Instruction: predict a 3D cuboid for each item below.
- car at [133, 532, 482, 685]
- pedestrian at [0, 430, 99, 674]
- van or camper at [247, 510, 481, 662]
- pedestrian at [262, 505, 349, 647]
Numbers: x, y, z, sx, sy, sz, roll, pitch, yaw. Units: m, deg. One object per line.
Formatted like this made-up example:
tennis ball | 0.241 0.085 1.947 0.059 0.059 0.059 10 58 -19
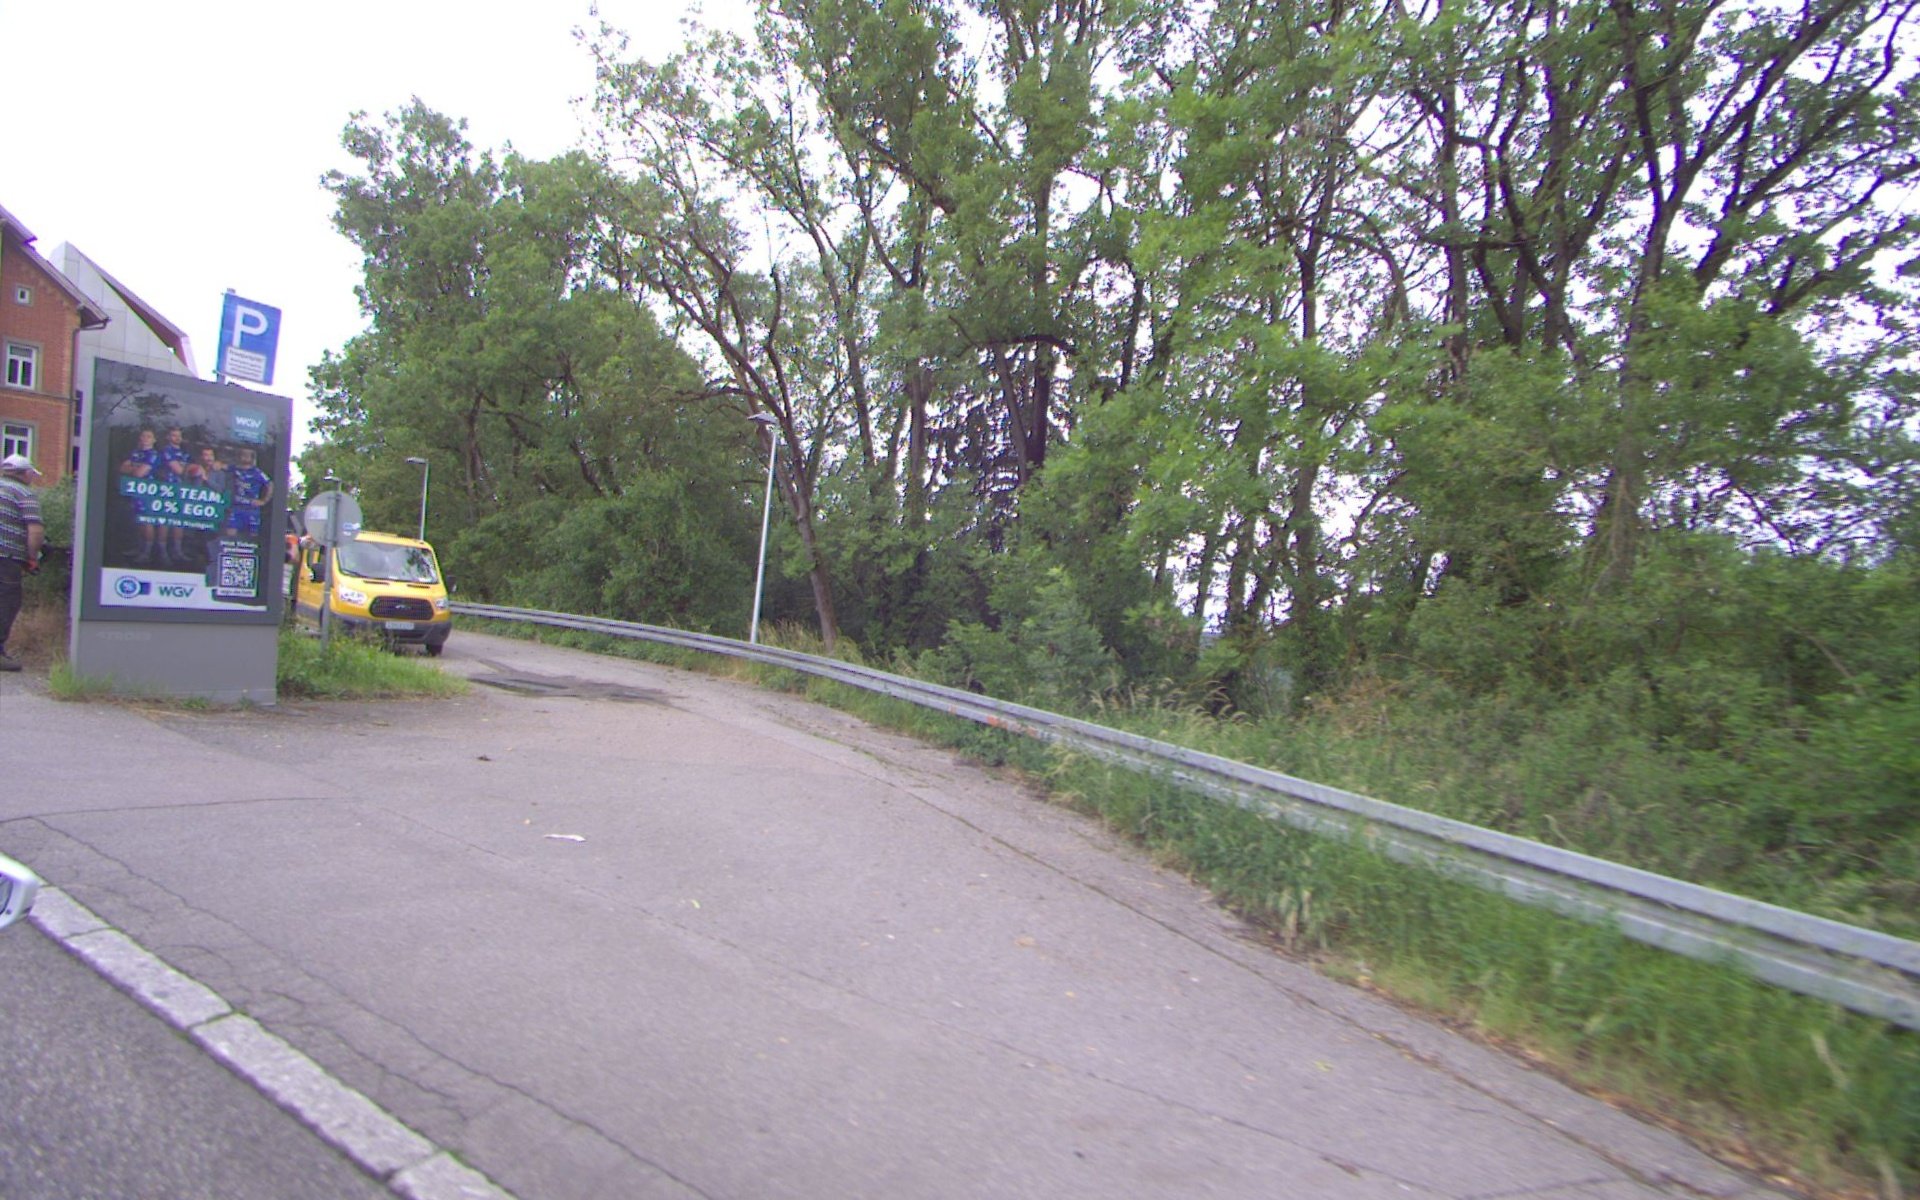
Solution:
car | -8.609 0.196 13.551 1.552 1.559 3.494 7 -2 33
pedestrian | -7.838 -0.409 8.216 0.931 1.909 0.814 6 3 21
van or camper | -11.906 -0.366 19.843 6.094 2.361 2.210 7 2 43
pedestrian | -7.697 -0.273 11.830 0.577 1.592 0.644 8 3 41
